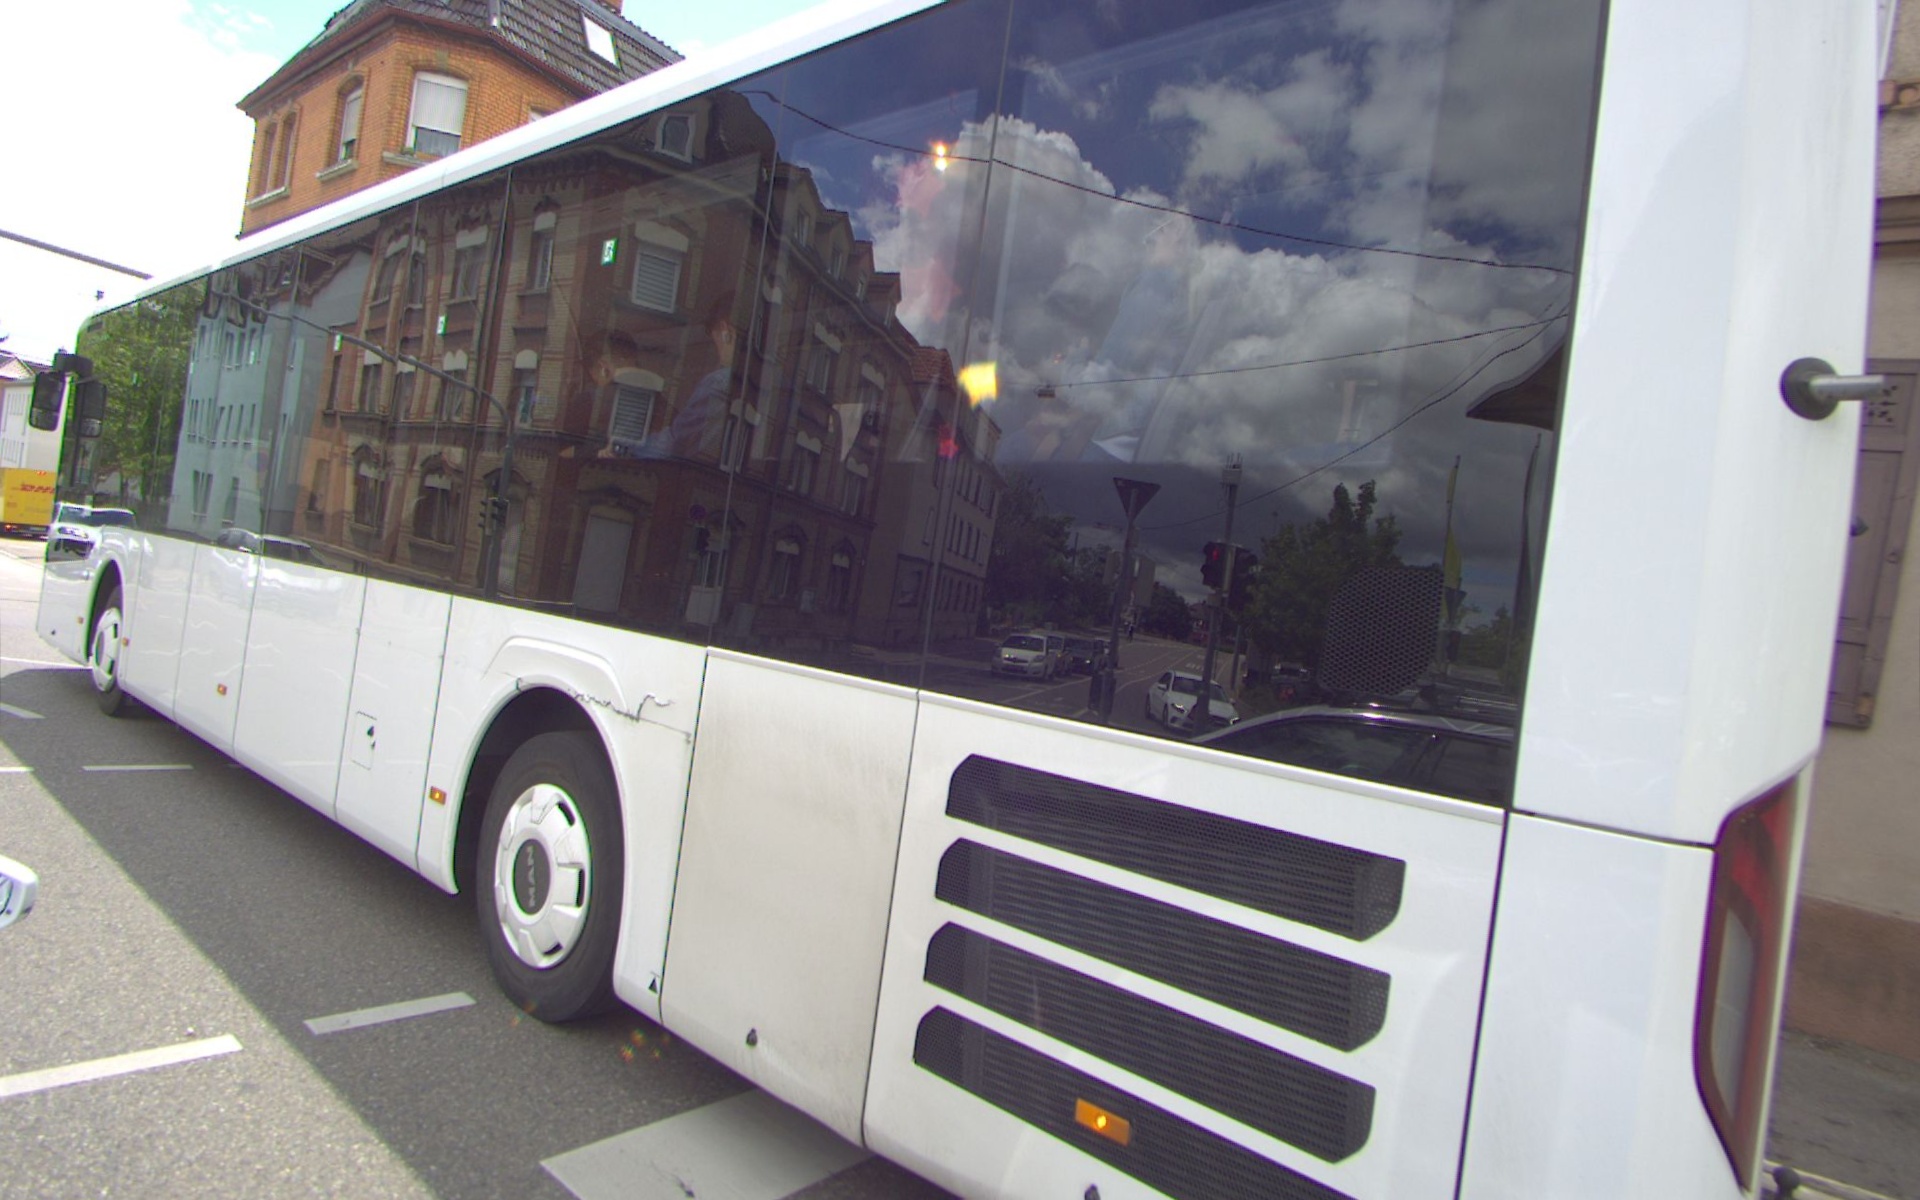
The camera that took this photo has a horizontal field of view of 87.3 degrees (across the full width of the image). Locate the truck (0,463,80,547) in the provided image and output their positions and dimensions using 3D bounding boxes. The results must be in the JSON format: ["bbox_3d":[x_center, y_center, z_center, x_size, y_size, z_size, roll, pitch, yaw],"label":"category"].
[{"bbox_3d":[-39.689,-4.063,42.514,6.477,2.947,2.540,6,-2,40],"label":"truck"}]

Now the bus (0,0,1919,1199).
[{"bbox_3d":[-2.667,-0.540,6.038,12.308,3.551,2.903,6,-2,40],"label":"bus"}]
